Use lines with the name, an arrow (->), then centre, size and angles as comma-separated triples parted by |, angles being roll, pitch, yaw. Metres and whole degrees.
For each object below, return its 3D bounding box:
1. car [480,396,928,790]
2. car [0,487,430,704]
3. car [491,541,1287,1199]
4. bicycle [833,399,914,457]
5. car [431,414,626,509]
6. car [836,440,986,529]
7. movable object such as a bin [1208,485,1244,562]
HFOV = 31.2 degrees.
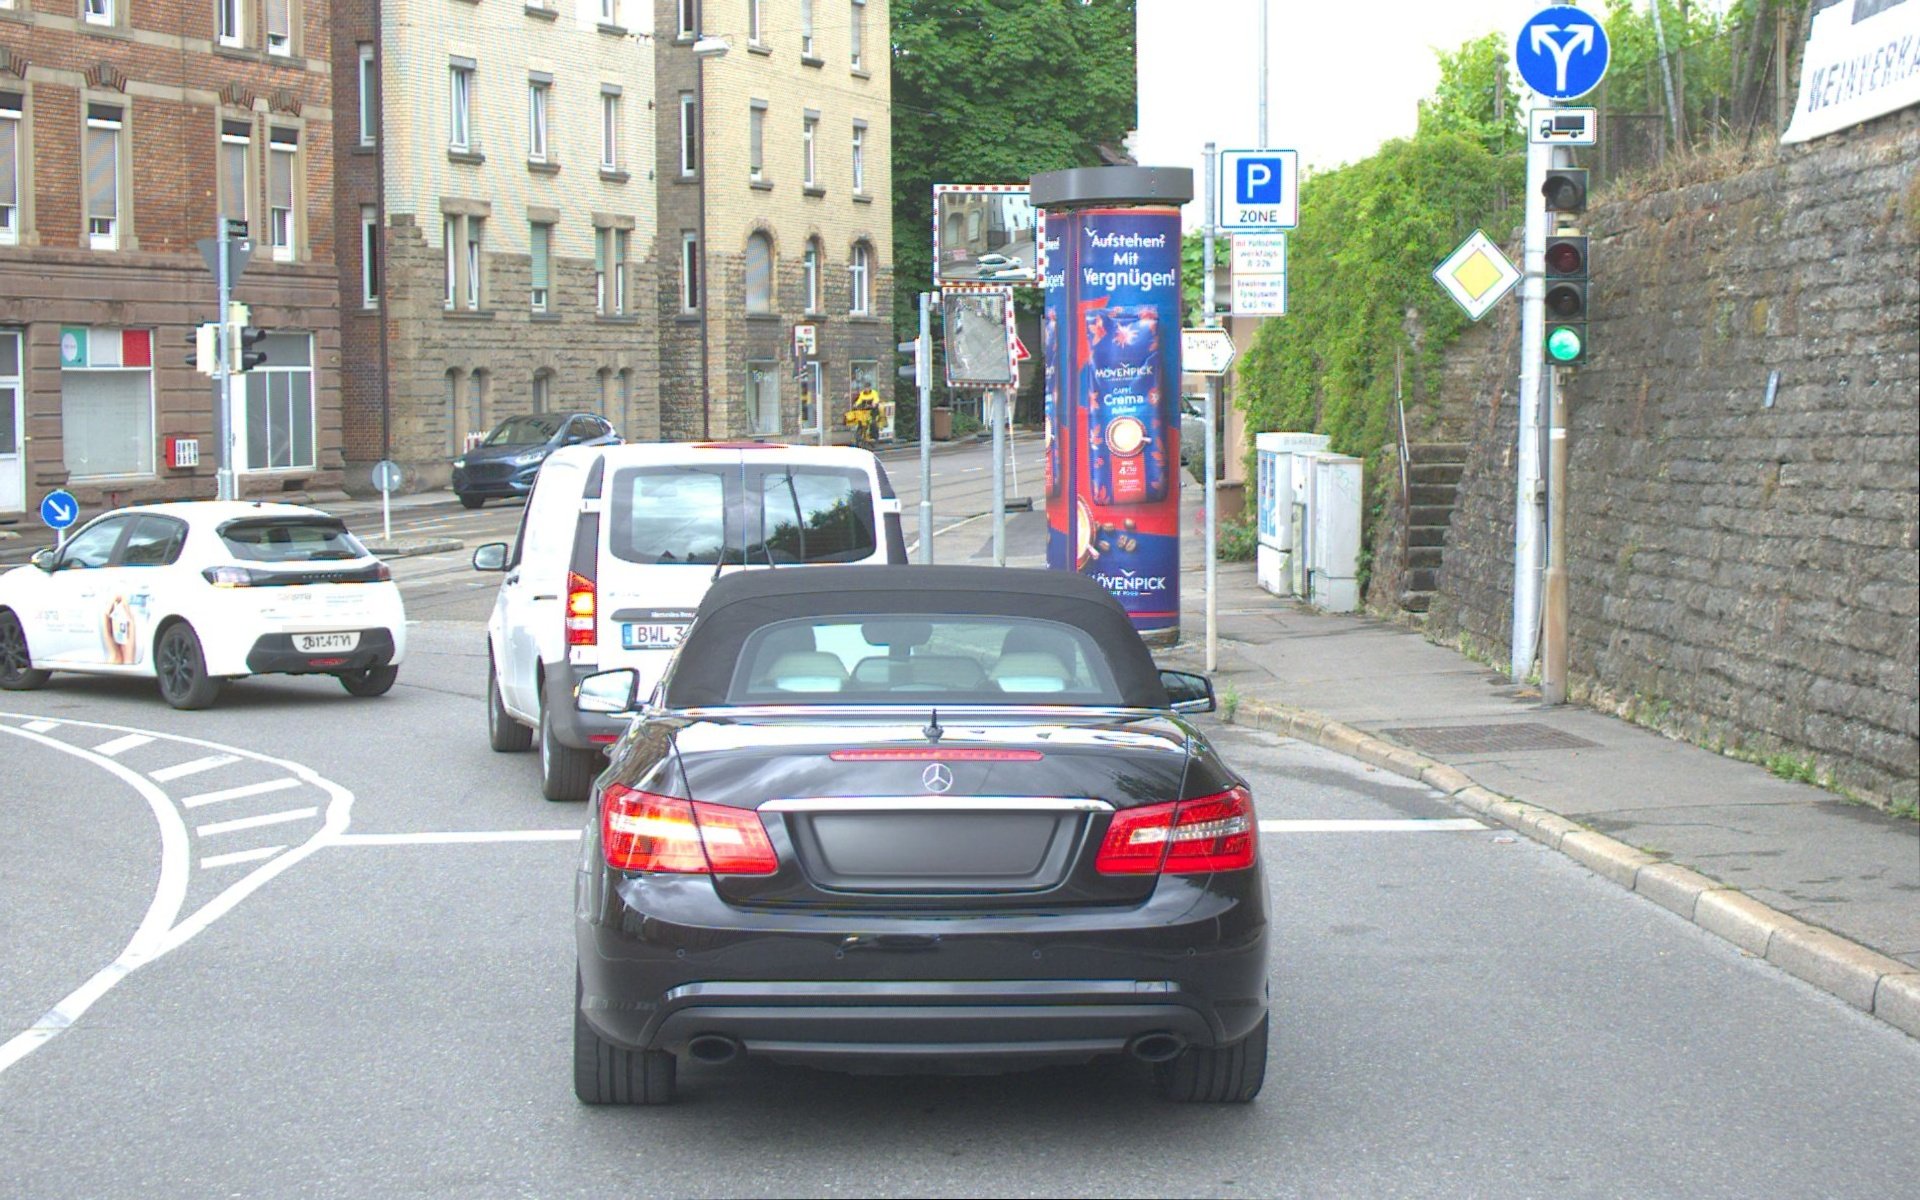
car -> -1.587, -0.041, 19.472 | 1.891, 1.922, 4.646 | 1, 0, -12
car -> -5.838, -0.042, 25.703 | 1.682, 1.461, 3.916 | -4, 2, -44
car -> -0.177, 0.585, 10.017 | 1.761, 1.404, 4.399 | -2, 2, 0
bicycle -> -2.142, -4.276, 85.391 | 0.632, 1.302, 2.595 | -2, 3, 31
car -> -7.853, -2.559, 62.926 | 1.995, 1.509, 4.284 | -1, 4, 15
car -> -1.012, -2.492, 73.491 | 1.951, 1.712, 3.997 | -2, 3, 18
movable object such as a bin -> 3.154, -0.909, 40.781 | 0.343, 0.908, 0.495 | 0, 1, -6
